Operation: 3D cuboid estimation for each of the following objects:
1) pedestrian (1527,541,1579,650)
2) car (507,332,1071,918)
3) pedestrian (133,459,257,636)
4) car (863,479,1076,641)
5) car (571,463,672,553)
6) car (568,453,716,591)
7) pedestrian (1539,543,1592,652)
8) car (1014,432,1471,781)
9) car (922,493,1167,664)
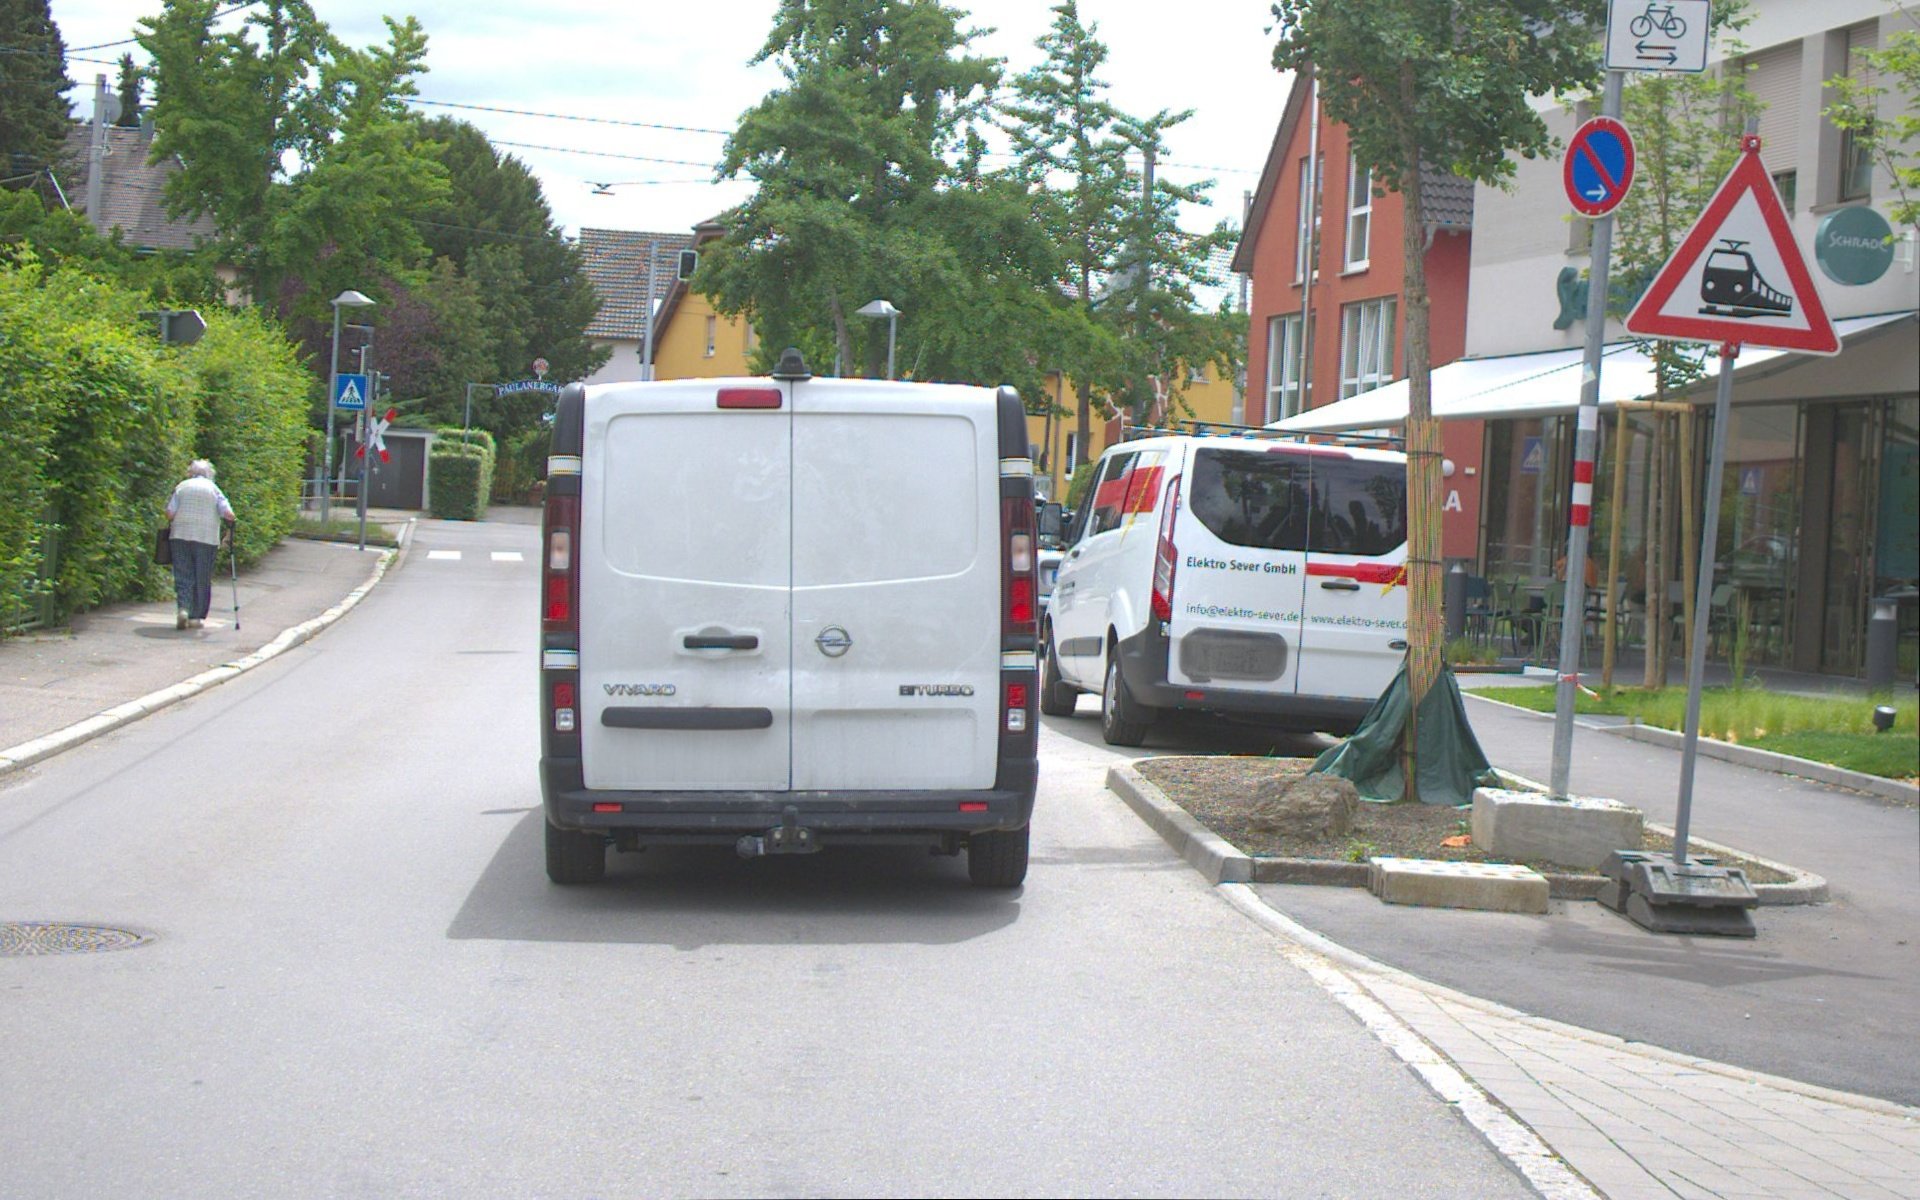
[{"bbox_3d":[6.519,-0.049,37.815,0.421,1.178,0.324,3,1,-7],"label":"pedestrian"},{"bbox_3d":[-0.779,0.065,14.374,1.915,1.996,4.438,2,1,-5],"label":"car"},{"bbox_3d":[-6.754,-0.466,30.349,0.876,1.480,0.455,5,1,-25],"label":"pedestrian"},{"bbox_3d":[0.044,-0.509,39.402,1.702,1.608,4.260,5,1,-8],"label":"car"},{"bbox_3d":[-7.135,-1.926,72.530,1.993,1.776,4.001,2,1,-6],"label":"car"},{"bbox_3d":[-4.617,-1.123,49.861,1.993,1.842,4.001,2,1,-6],"label":"car"},{"bbox_3d":[6.595,-0.028,37.452,0.421,1.161,0.324,3,1,-7],"label":"pedestrian"},{"bbox_3d":[1.722,-0.012,22.821,1.958,1.909,4.903,5,1,-6],"label":"car"},{"bbox_3d":[0.790,-0.249,34.589,1.741,1.489,3.656,5,1,-8],"label":"car"}]
